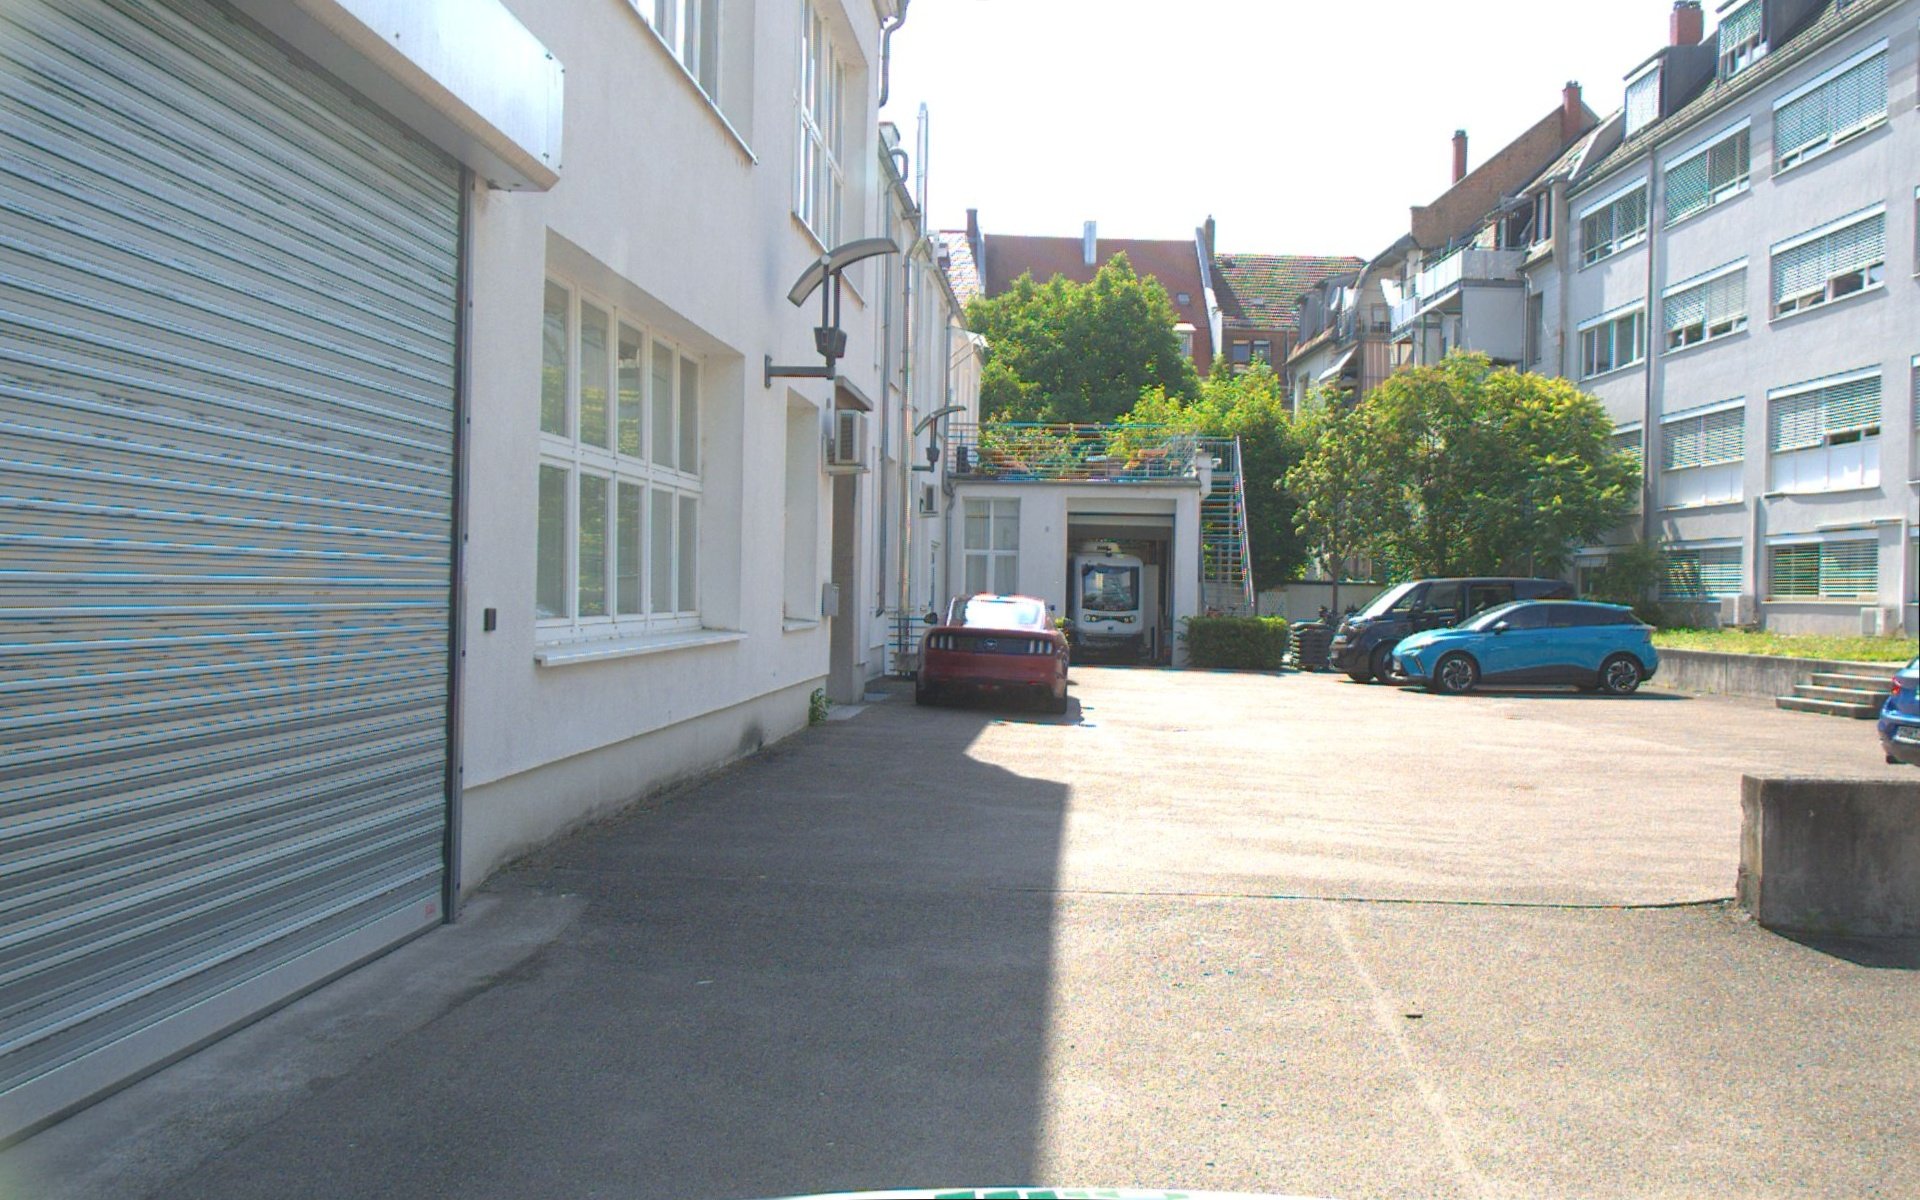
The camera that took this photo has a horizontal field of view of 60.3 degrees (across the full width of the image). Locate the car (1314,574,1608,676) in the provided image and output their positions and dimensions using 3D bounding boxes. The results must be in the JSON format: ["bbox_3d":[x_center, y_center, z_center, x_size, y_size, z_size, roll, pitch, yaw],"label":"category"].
[{"bbox_3d":[9.316,0.418,30.968,4.858,1.798,2.093,0,1,-8],"label":"car"}]

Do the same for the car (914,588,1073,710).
[{"bbox_3d":[0.517,0.560,21.373,1.813,1.342,4.002,2,1,4],"label":"car"}]

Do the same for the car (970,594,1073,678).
[{"bbox_3d":[1.101,0.566,28.161,1.580,1.318,3.761,0,0,5],"label":"car"}]

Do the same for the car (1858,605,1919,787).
[{"bbox_3d":[9.506,0.769,13.052,3.903,1.418,1.690,0,0,4],"label":"car"}]

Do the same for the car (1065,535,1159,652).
[{"bbox_3d":[3.736,-0.144,41.016,2.128,2.652,6.738,0,0,5],"label":"car"}]

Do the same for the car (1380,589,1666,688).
[{"bbox_3d":[9.340,0.620,27.703,4.141,1.559,2.001,0,1,1],"label":"car"}]
